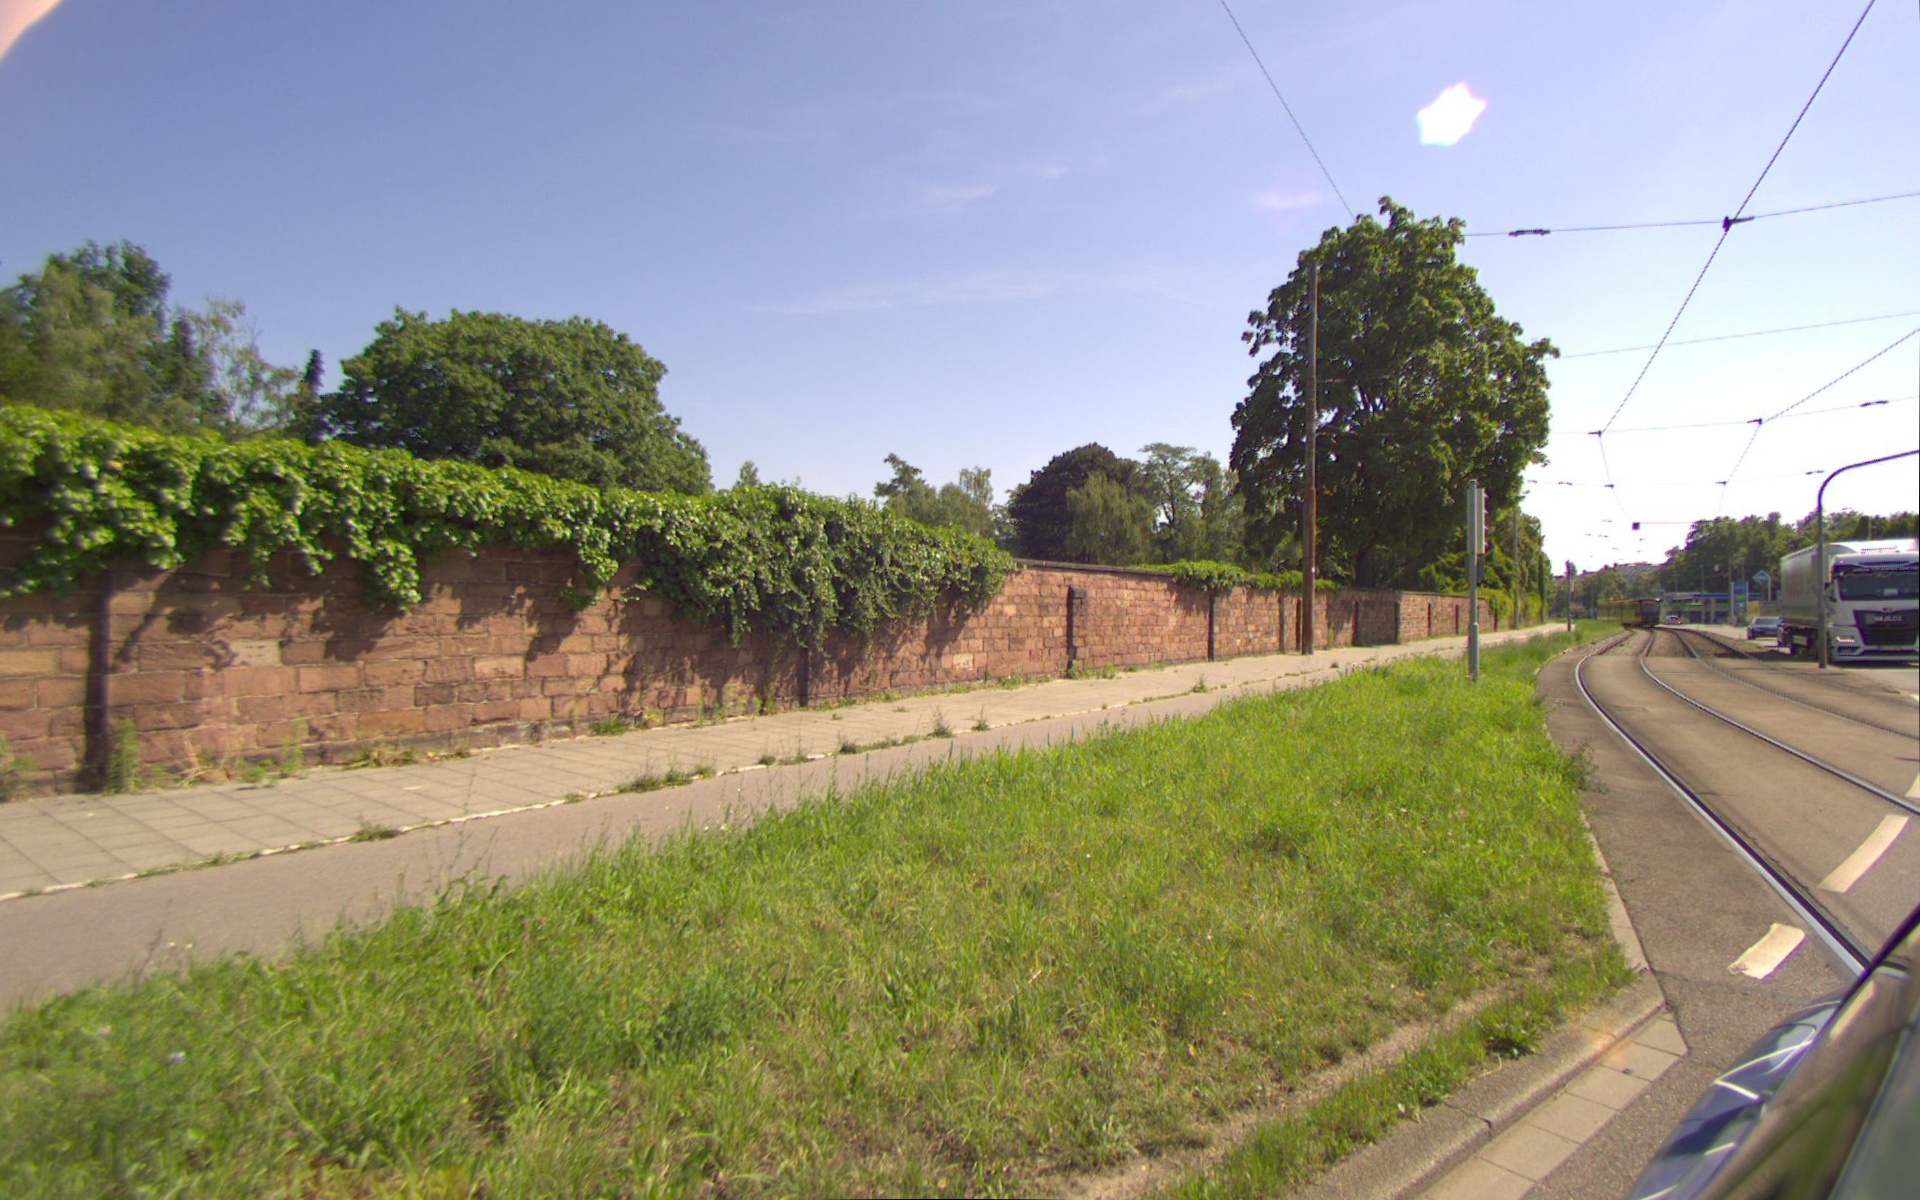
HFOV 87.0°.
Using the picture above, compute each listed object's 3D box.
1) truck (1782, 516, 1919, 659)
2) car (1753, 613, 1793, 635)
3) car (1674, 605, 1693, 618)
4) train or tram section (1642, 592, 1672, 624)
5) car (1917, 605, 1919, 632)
[{"bbox_3d":[31.530,-0.333,35.210,3.371,4.122,14.104,-3,-2,35],"label":"truck"},{"bbox_3d":[50.023,1.453,62.306,1.691,1.271,3.947,0,0,36],"label":"car"},{"bbox_3d":[120.789,1.954,169.023,1.981,2.039,3.962,1,0,27],"label":"car"},{"bbox_3d":[85.280,0.947,123.692,2.661,3.699,15.109,-3,-2,35],"label":"train or tram section"},{"bbox_3d":[70.847,1.372,73.244,1.670,1.961,4.400,1,0,35],"label":"car"}]
